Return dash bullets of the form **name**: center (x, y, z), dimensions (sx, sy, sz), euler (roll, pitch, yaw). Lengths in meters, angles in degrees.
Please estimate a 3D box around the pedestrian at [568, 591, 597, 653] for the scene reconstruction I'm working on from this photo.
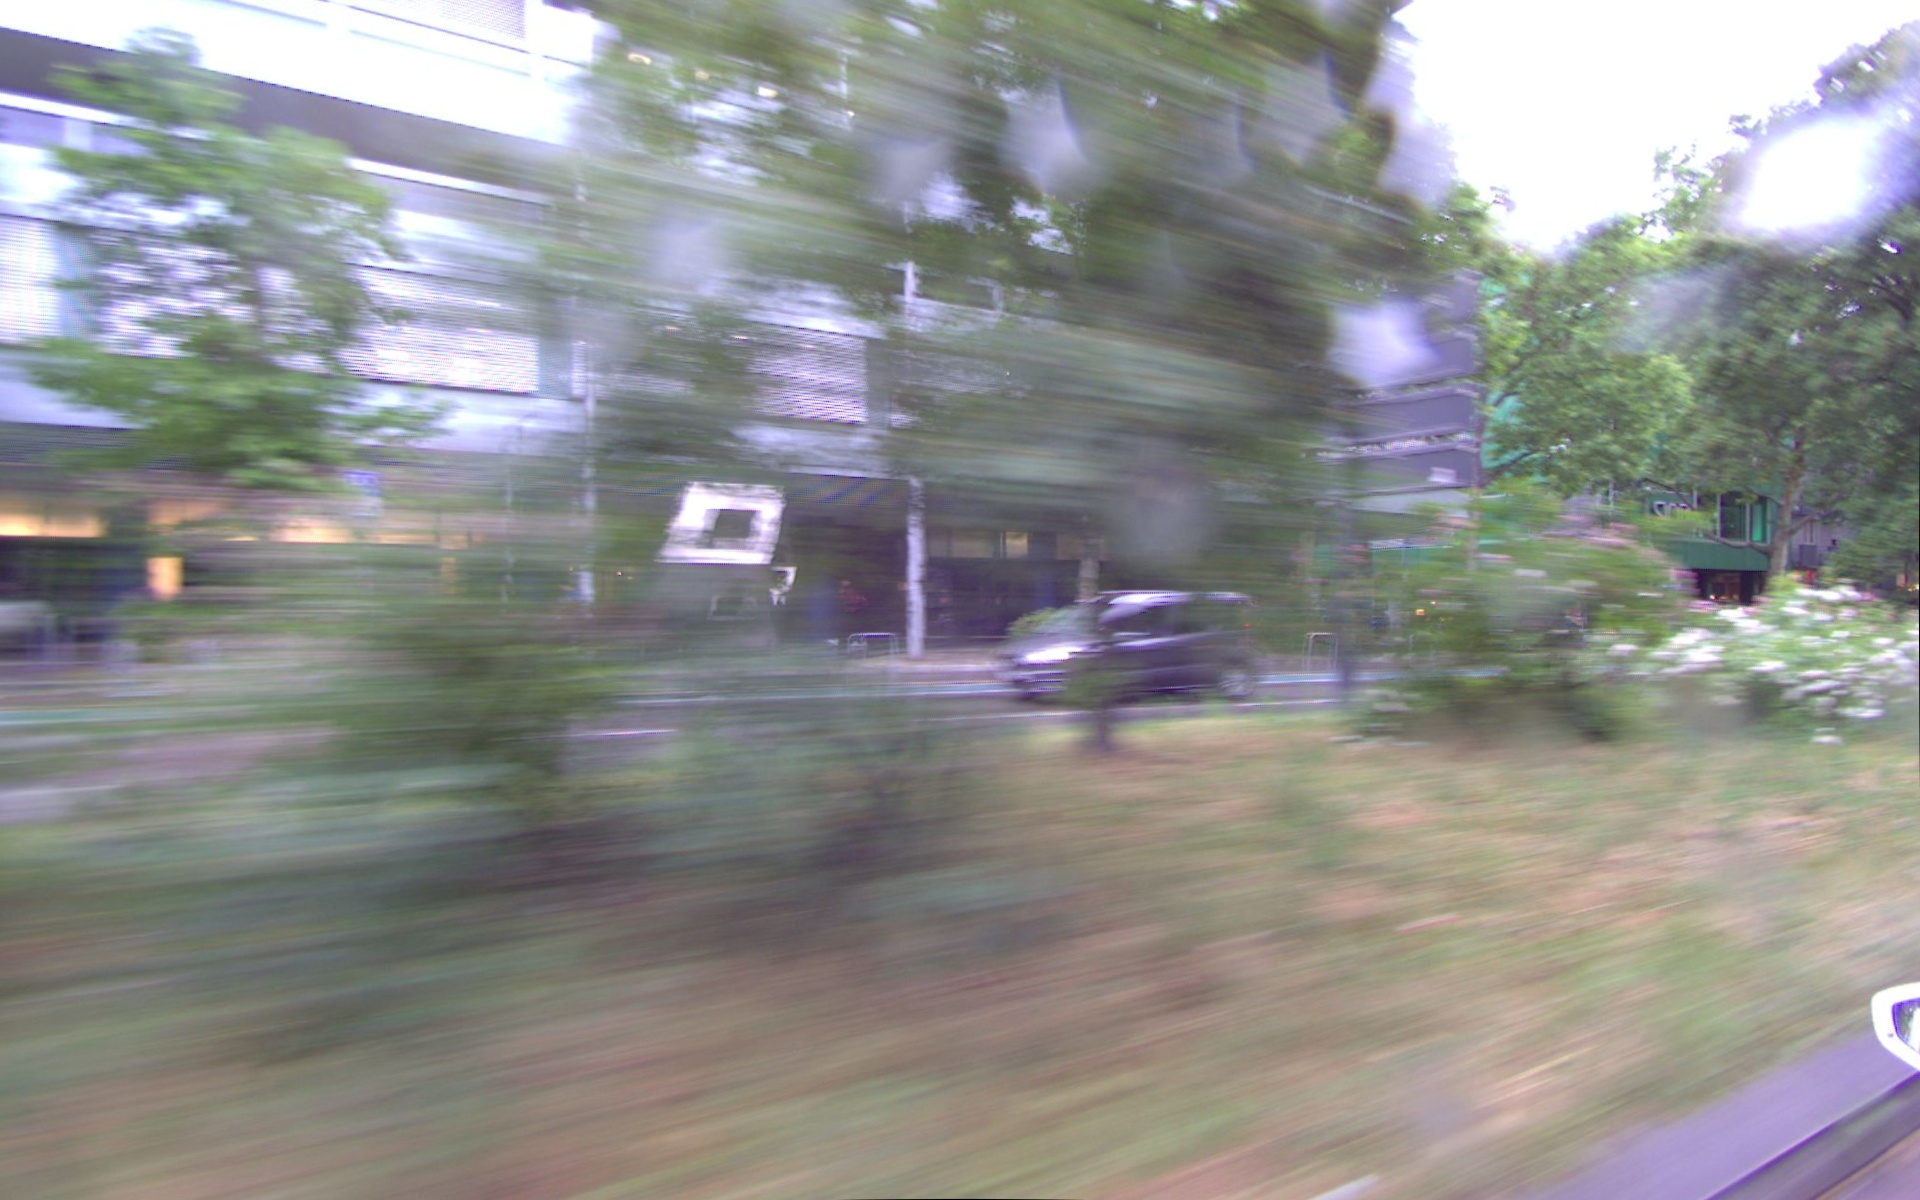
- **pedestrian**: center (-8.688, 0.504, 23.104), dimensions (0.469, 1.398, 0.634), euler (1, 1, -33)

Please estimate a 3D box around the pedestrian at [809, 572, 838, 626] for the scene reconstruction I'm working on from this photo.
- **pedestrian**: center (-3.873, -0.031, 28.438), dimensions (0.569, 1.502, 0.606), euler (1, 1, -33)

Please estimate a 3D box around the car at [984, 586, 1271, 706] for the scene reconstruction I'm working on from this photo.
- **car**: center (2.883, 0.705, 17.083), dimensions (4.617, 1.780, 1.905), euler (1, 1, -29)
